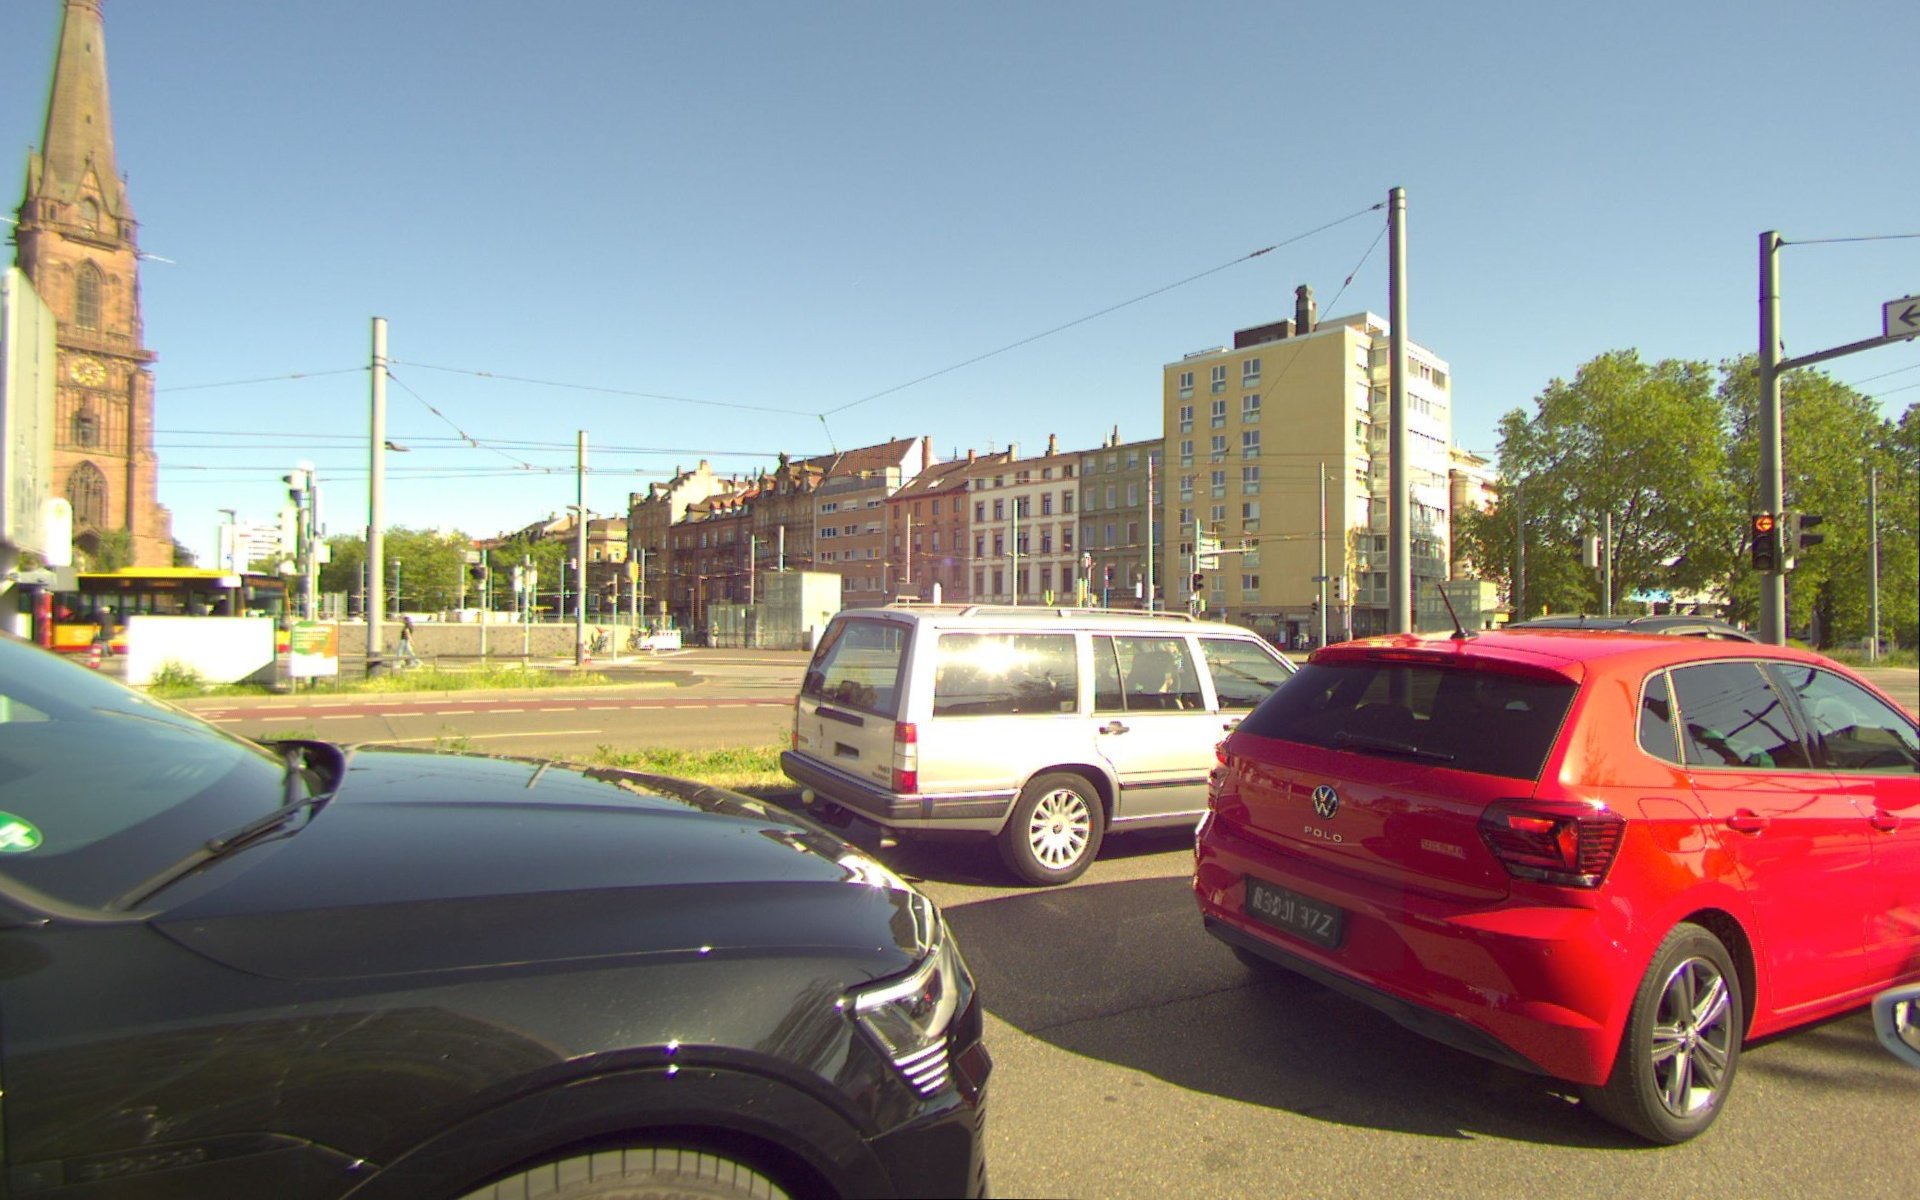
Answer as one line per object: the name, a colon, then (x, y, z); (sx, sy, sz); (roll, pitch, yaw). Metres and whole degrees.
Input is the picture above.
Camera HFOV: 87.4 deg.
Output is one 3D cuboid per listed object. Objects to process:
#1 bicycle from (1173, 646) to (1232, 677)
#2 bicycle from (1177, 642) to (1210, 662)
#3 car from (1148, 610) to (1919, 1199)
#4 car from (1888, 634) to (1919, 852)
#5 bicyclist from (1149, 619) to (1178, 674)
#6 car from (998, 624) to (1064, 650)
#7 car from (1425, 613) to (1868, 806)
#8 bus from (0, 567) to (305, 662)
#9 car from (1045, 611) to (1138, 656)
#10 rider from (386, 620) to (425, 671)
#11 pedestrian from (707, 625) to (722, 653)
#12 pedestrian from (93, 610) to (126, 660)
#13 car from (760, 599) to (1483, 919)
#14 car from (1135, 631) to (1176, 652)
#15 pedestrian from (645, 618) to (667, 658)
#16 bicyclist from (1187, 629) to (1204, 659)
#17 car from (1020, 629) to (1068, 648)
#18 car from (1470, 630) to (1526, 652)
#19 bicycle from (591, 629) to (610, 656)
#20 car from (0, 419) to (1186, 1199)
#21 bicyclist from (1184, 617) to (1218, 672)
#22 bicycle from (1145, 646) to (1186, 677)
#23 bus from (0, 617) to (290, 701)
bicycle: (7.502, 1.891, 31.143); (0.671, 0.890, 1.882); (1, -2, -31)
bicycle: (11.795, 2.623, 50.711); (1.664, 0.958, 0.614); (1, -2, -27)
car: (2.807, 0.836, 4.121); (3.805, 1.492, 1.663); (2, 0, -28)
car: (8.557, 1.023, 7.045); (3.979, 1.464, 1.705); (2, 0, -26)
bicyclist: (6.292, 1.422, 31.067); (0.666, 1.676, 0.784); (1, -1, -8)
car: (4.714, 2.437, 67.315); (4.249, 1.675, 1.847); (-1, -2, 44)
car: (6.636, 0.935, 9.701); (3.954, 1.537, 1.753); (1, -1, -24)
bus: (-29.563, 0.506, 34.709); (11.922, 3.105, 2.763); (1, -1, 0)
car: (7.735, 1.977, 59.519); (1.987, 2.541, 5.347); (2, -2, -45)
rider: (-16.346, 1.326, 29.629); (0.846, 1.483, 0.668); (1, -1, -14)
pedestrian: (-15.263, 2.397, 62.425); (0.671, 1.735, 0.794); (1, -2, -35)
pedestrian: (-26.834, 1.106, 31.685); (0.518, 1.534, 0.571); (2, 0, -1)
car: (1.223, 0.813, 6.619); (4.695, 1.492, 1.701); (2, -2, -30)
car: (13.862, 2.928, 71.408); (1.744, 1.446, 3.876); (1, -2, -7)
pedestrian: (-14.361, 1.778, 47.433); (0.871, 1.879, 0.684); (1, -1, -27)
bicyclist: (11.889, 2.217, 50.773); (0.608, 1.462, 0.614); (1, -1, -26)
car: (6.661, 3.058, 79.373); (1.751, 1.446, 3.859); (-1, -2, 42)
car: (42.831, 3.280, 80.020); (1.584, 1.684, 3.695); (2, -2, -45)
bicycle: (-16.234, 1.927, 45.384); (0.461, 1.189, 1.253); (1, -1, -3)
car: (-1.979, 0.649, 1.344); (4.401, 1.636, 1.845); (2, -2, -30)
bicyclist: (7.482, 1.373, 31.208); (0.671, 1.676, 0.778); (1, -2, -32)
bicycle: (6.293, 1.873, 30.871); (0.666, 0.890, 1.896); (1, -2, -7)
bus: (-13.605, 0.941, 16.600); (4.139, 1.257, 1.632); (2, -2, -33)
